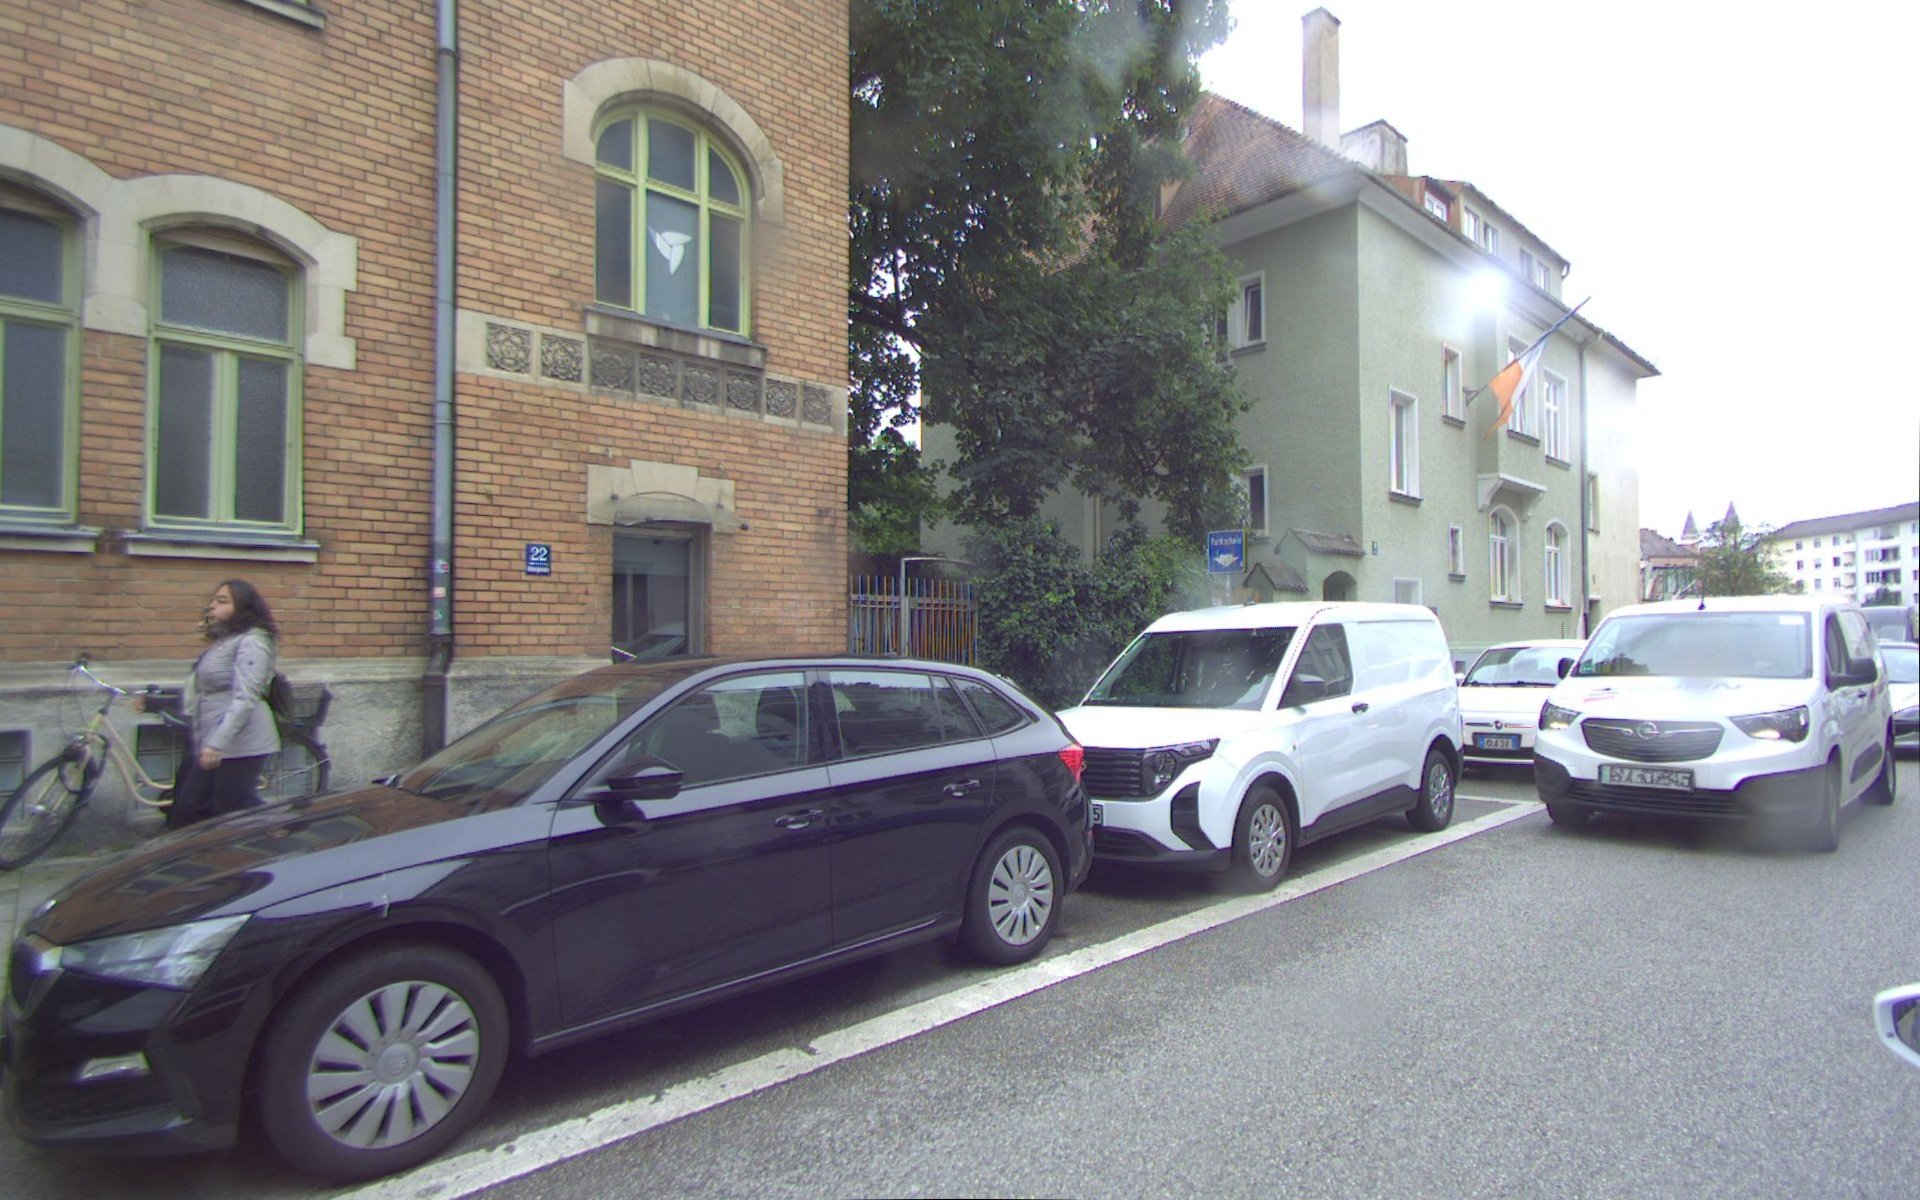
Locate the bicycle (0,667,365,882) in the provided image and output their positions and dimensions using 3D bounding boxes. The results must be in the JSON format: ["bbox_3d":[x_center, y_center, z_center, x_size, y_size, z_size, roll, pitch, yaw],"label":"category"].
[{"bbox_3d":[-4.940,1.037,6.470,1.814,1.143,0.625,1,-2,-42],"label":"bicycle"}]

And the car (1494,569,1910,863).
[{"bbox_3d":[6.371,0.836,8.412,4.535,1.827,1.757,2,-5,-40],"label":"car"}]

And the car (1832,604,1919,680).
[{"bbox_3d":[34.616,1.527,37.780,5.336,2.671,2.070,1,-2,-42],"label":"car"}]

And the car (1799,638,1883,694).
[{"bbox_3d":[26.118,1.899,29.738,1.683,1.465,3.801,-1,-1,44],"label":"car"}]

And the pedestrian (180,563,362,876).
[{"bbox_3d":[-3.725,0.595,5.425,0.721,1.533,0.690,2,-1,-39],"label":"pedestrian"}]

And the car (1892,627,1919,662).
[{"bbox_3d":[49.243,2.266,51.624,4.001,1.713,1.685,1,-4,-45],"label":"car"}]

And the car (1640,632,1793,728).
[{"bbox_3d":[14.319,1.451,18.947,3.895,1.623,1.671,2,-5,-44],"label":"car"}]

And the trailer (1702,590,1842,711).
[{"bbox_3d":[18.471,1.141,22.787,4.353,2.493,1.694,1,-4,-42],"label":"trailer"}]

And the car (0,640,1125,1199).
[{"bbox_3d":[-1.241,0.941,4.287,4.116,1.461,1.674,2,-4,-43],"label":"car"}]

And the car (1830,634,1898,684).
[{"bbox_3d":[30.112,1.942,33.481,1.568,1.558,3.524,-3,-4,42],"label":"car"}]

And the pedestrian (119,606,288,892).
[{"bbox_3d":[-4.448,0.816,5.915,0.721,1.533,0.690,2,-1,-39],"label":"pedestrian"}]

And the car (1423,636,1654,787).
[{"bbox_3d":[6.769,1.183,11.630,3.292,1.485,1.459,2,-4,-45],"label":"car"}]

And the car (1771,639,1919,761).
[{"bbox_3d":[12.164,1.250,13.386,3.586,1.429,1.567,3,-4,-42],"label":"car"}]

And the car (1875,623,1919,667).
[{"bbox_3d":[43.874,2.052,46.417,4.568,1.957,1.866,1,-4,-43],"label":"car"}]

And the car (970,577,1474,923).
[{"bbox_3d":[2.124,0.884,7.385,4.118,1.827,1.674,2,-4,-44],"label":"car"}]
